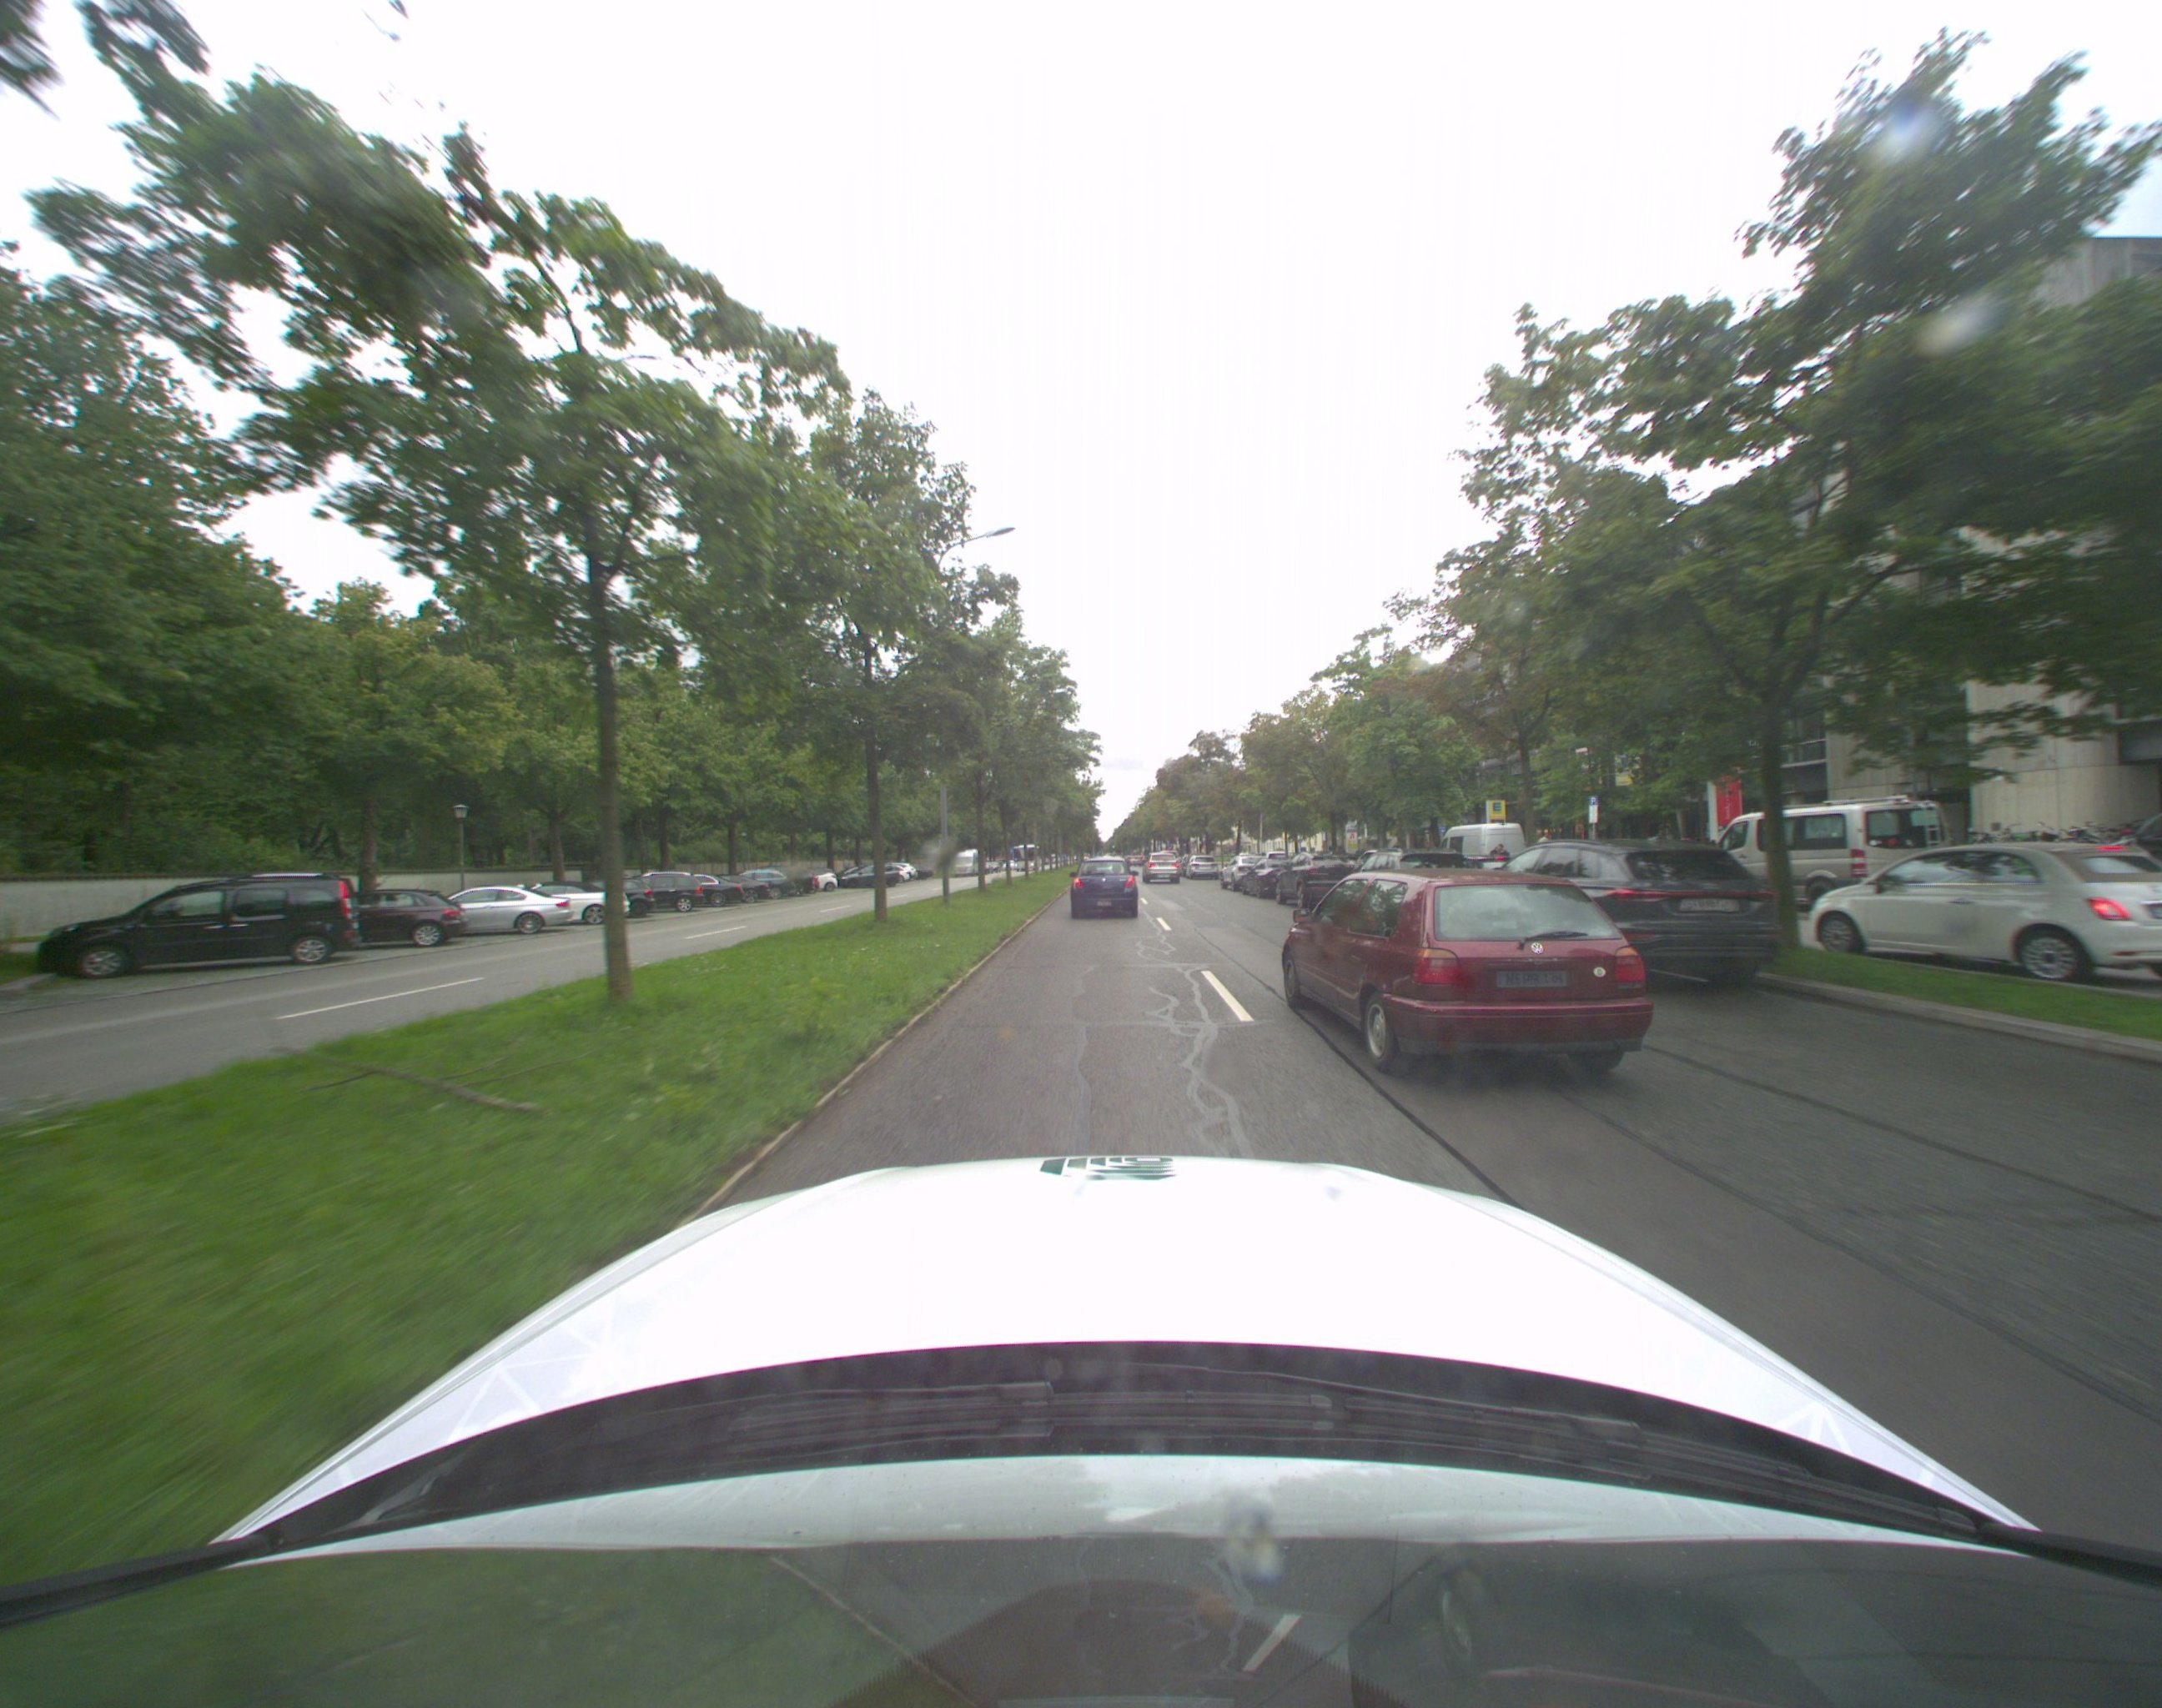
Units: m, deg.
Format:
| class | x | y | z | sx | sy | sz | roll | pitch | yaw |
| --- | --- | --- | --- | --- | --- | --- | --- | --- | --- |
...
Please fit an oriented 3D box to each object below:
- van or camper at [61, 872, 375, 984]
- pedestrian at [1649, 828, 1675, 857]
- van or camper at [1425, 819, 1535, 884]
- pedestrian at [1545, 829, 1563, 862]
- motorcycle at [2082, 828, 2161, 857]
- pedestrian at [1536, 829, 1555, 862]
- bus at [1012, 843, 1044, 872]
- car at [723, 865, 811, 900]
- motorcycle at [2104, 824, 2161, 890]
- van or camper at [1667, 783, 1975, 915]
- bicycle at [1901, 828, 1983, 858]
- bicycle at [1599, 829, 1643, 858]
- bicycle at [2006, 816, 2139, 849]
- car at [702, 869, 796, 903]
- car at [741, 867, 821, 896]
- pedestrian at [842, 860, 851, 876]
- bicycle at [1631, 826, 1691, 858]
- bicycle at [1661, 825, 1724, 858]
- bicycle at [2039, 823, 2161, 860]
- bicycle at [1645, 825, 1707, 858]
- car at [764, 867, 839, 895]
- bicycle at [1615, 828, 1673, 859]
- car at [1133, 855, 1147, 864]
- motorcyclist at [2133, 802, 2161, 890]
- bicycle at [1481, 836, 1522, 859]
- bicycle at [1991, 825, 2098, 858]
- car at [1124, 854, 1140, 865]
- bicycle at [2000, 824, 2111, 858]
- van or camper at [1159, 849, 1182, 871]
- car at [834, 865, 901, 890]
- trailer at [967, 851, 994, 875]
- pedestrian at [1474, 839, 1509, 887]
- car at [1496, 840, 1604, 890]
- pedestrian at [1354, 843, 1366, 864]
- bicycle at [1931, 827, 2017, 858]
| class | x | y | z | sx | sy | sz | roll | pitch | yaw |
| --- | --- | --- | --- | --- | --- | --- | --- | --- | --- |
| van or camper | -17.157 | 1.371 | 16.558 | 4.146 | 1.854 | 1.829 | -2 | 0 | -39 |
| pedestrian | 32.232 | -0.640 | 45.177 | 0.685 | 1.579 | 0.972 | -2 | 0 | 2 |
| van or camper | 17.420 | -0.088 | 35.971 | 2.016 | 2.558 | 5.959 | -2 | 0 | 2 |
| pedestrian | 26.645 | -0.494 | 45.883 | 0.676 | 1.830 | 0.541 | -2 | 0 | -10 |
| motorcycle | 32.272 | -0.353 | 25.161 | 0.847 | 0.865 | 1.572 | -2 | 0 | 9 |
| pedestrian | 25.959 | -0.475 | 45.513 | 0.557 | 1.830 | 0.679 | -2 | 0 | -9 |
| bus | -6.835 | 0.424 | 107.488 | 2.727 | 3.377 | 12.020 | -3 | 0 | 3 |
| car | -17.044 | 1.498 | 44.222 | 4.122 | 1.679 | 1.900 | -2 | 0 | -32 |
| motorcycle | 22.117 | 0.056 | 16.258 | 0.693 | 1.290 | 2.067 | -6 | 0 | 2 |
| van or camper | 16.968 | -0.097 | 19.299 | 1.986 | 2.558 | 5.959 | -2 | 0 | 2 |
| bicycle | 30.096 | -0.369 | 28.482 | 2.034 | 0.958 | 0.746 | -2 | 0 | 0 |
| bicycle | 29.173 | -0.583 | 43.971 | 2.625 | 1.508 | 0.791 | -2 | 0 | -29 |
| bicycle | 28.886 | -0.613 | 23.804 | 0.776 | 0.870 | 2.373 | -2 | 0 | -44 |
| car | -16.926 | 1.602 | 41.562 | 4.122 | 1.469 | 1.900 | -2 | 0 | -32 |
| car | -17.561 | 1.574 | 47.633 | 4.119 | 1.501 | 1.901 | -2 | 0 | -29 |
| pedestrian | -24.749 | 1.475 | 85.882 | 0.682 | 1.612 | 0.685 | -2 | -1 | -29 |
| bicycle | 29.442 | -0.596 | 41.355 | 2.608 | 1.508 | 0.796 | -2 | 0 | -8 |
| bicycle | 29.709 | -0.594 | 39.565 | 2.608 | 1.508 | 0.796 | -2 | 0 | -8 |
| bicycle | 28.359 | -0.342 | 22.730 | 2.022 | 0.958 | 0.751 | -2 | 0 | 45 |
| bicycle | 29.570 | -0.609 | 40.474 | 2.608 | 1.508 | 0.796 | -2 | 0 | -8 |
| car | -17.386 | 1.650 | 50.740 | 4.119 | 1.501 | 1.901 | -2 | 0 | -29 |
| bicycle | 29.386 | -0.557 | 42.499 | 2.608 | 1.508 | 0.796 | -2 | 0 | -8 |
| car | 9.519 | 0.861 | 131.936 | 1.844 | 1.447 | 4.097 | -2 | 0 | 0 |
| motorcyclist | 22.091 | -0.177 | 16.282 | 0.688 | 1.737 | 0.954 | -6 | -1 | 1 |
| bicycle | 30.512 | -0.472 | 59.137 | 2.605 | 1.508 | 0.797 | -2 | 0 | -5 |
| bicycle | 30.110 | -0.387 | 25.502 | 2.021 | 0.958 | 0.751 | -2 | 0 | 39 |
| car | 7.143 | 0.774 | 114.406 | 1.844 | 1.447 | 4.097 | -2 | 0 | 0 |
| bicycle | 29.634 | -0.382 | 24.818 | 2.021 | 0.958 | 0.751 | -2 | 0 | 39 |
| van or camper | 8.789 | 0.578 | 80.025 | 1.937 | 1.975 | 4.309 | -2 | 0 | 3 |
| car | -15.117 | 1.641 | 57.768 | 4.206 | 1.542 | 1.898 | -2 | 0 | -36 |
| trailer | -11.583 | 1.011 | 93.935 | 2.098 | 2.540 | 5.579 | -2 | 0 | 2 |
| pedestrian | 15.836 | 0.344 | 31.415 | 0.872 | 1.851 | 0.903 | -1 | 0 | 0 |
| car | 17.112 | 0.365 | 29.952 | 1.741 | 1.664 | 4.011 | -2 | 0 | 2 |
| pedestrian | 23.074 | -0.024 | 67.369 | 0.745 | 1.706 | 0.702 | -2 | 0 | 2 |
| bicycle | 30.001 | -0.385 | 27.378 | 2.034 | 0.958 | 0.746 | -2 | 0 | 0 |
